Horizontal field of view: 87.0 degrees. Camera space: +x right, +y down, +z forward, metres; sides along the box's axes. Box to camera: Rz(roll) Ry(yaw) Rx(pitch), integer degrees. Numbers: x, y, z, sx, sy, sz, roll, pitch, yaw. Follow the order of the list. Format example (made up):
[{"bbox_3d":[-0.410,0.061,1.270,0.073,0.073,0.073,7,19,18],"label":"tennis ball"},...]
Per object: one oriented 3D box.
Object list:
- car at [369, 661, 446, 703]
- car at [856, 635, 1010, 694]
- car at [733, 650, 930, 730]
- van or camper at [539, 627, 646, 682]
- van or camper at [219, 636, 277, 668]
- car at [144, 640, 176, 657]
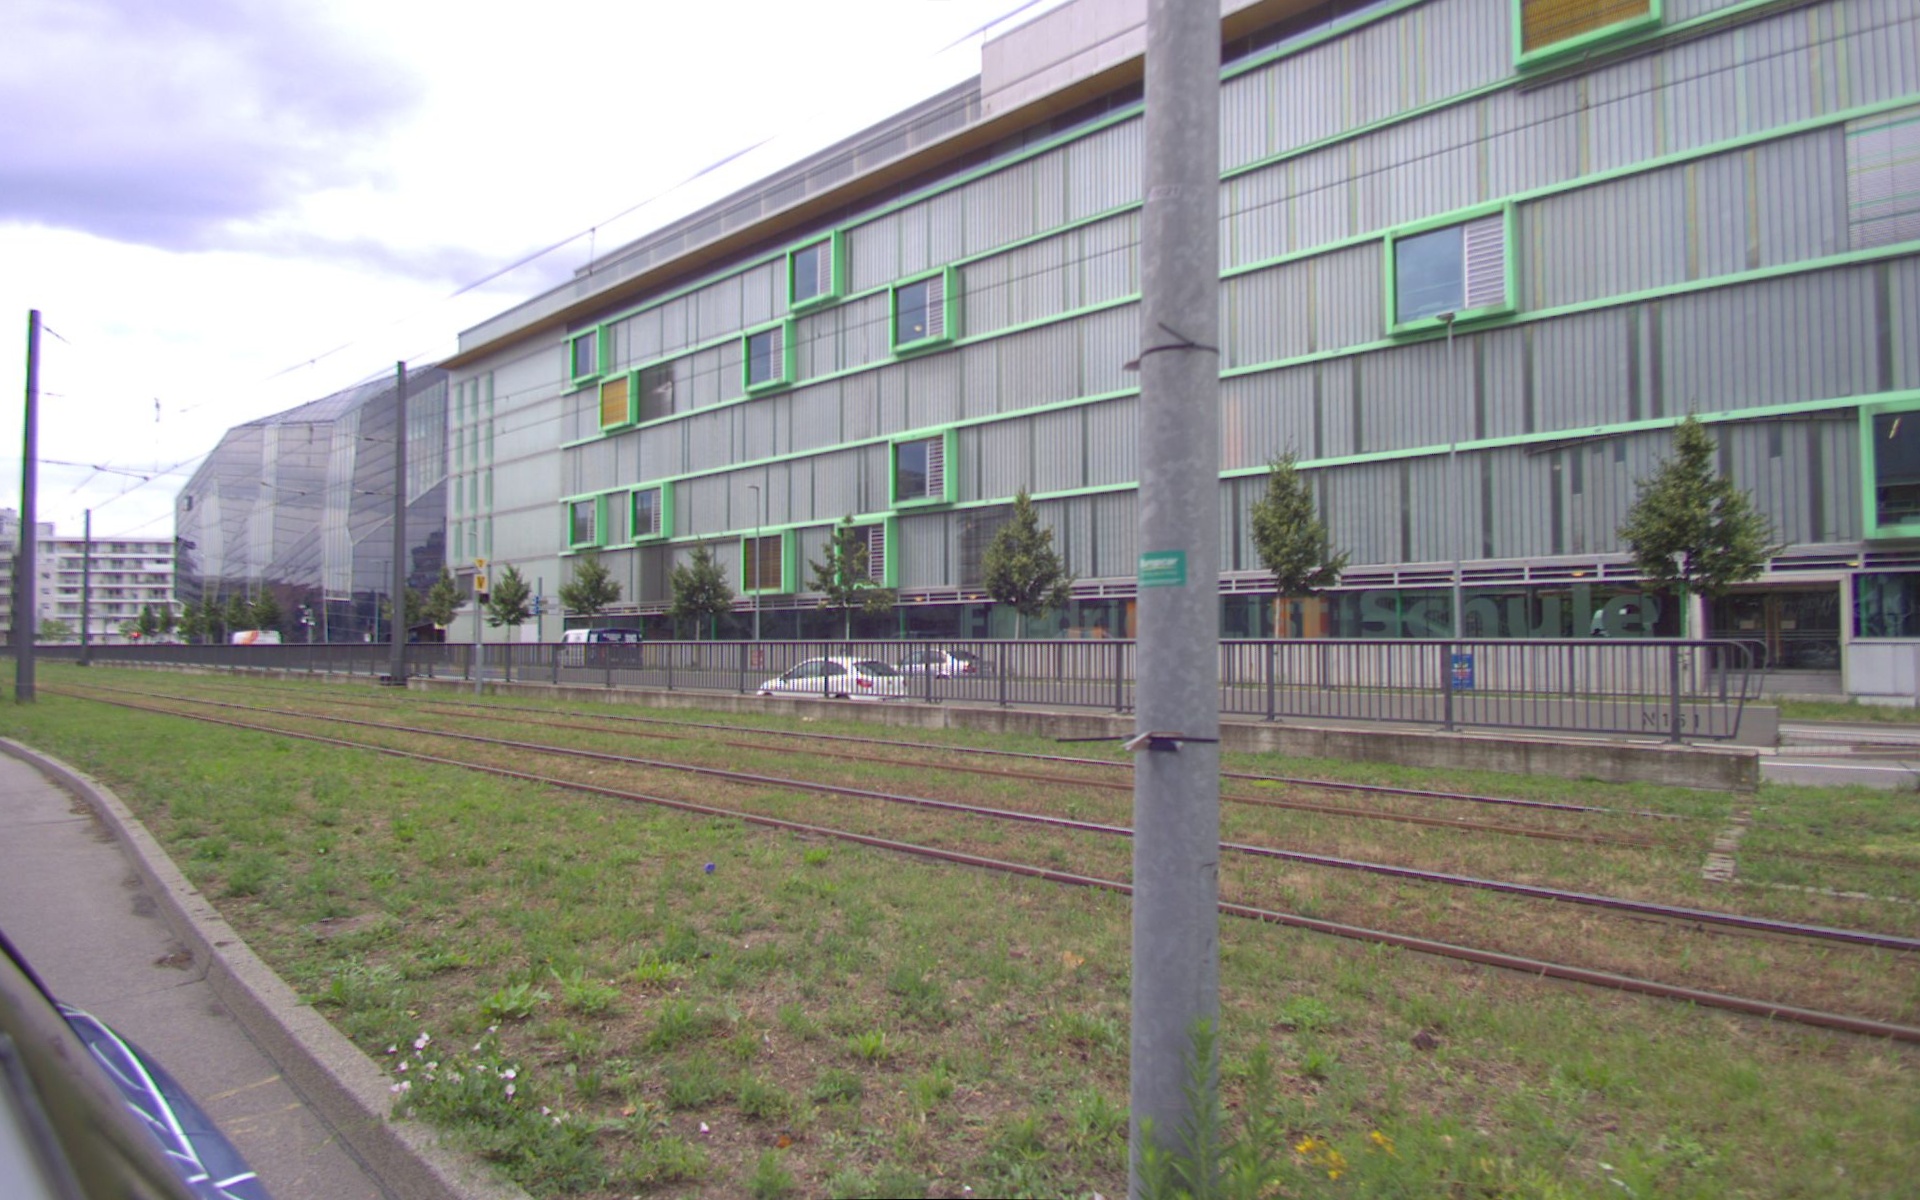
[{"bbox_3d":[-30.885,4.593,56.537,4.965,2.029,1.974,-8,-5,38],"label":"car"},{"bbox_3d":[-0.900,1.923,30.975,4.645,1.679,1.972,-3,-3,42],"label":"car"},{"bbox_3d":[-2.954,1.944,22.749,4.375,1.598,1.973,-3,-3,40],"label":"car"},{"bbox_3d":[-16.375,2.405,44.956,5.356,2.304,2.150,-3,-3,41],"label":"van or camper"},{"bbox_3d":[-53.774,3.933,76.382,6.504,2.304,2.150,-3,-2,42],"label":"van or camper"},{"bbox_3d":[-85.077,5.143,107.586,4.766,1.605,1.971,-5,-5,43],"label":"car"}]
